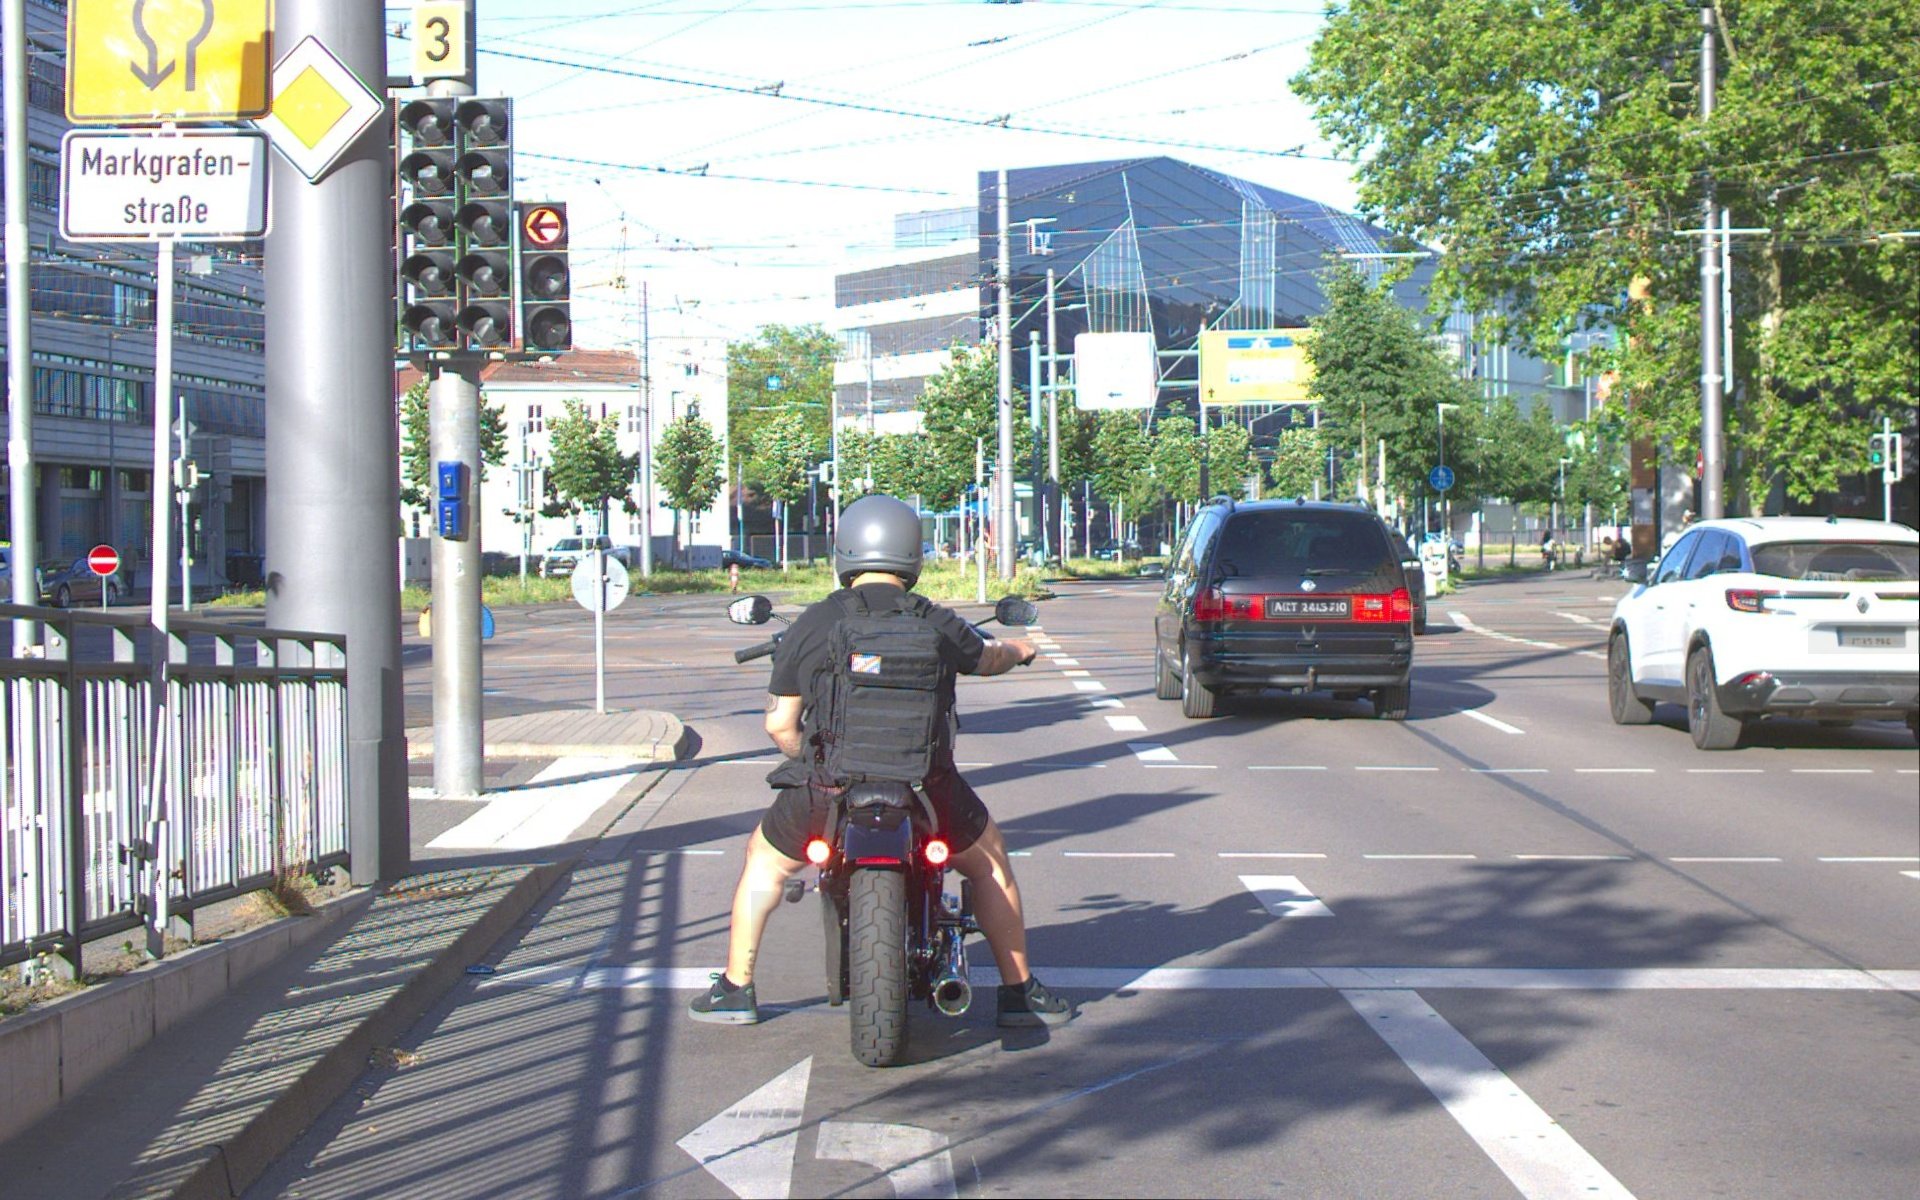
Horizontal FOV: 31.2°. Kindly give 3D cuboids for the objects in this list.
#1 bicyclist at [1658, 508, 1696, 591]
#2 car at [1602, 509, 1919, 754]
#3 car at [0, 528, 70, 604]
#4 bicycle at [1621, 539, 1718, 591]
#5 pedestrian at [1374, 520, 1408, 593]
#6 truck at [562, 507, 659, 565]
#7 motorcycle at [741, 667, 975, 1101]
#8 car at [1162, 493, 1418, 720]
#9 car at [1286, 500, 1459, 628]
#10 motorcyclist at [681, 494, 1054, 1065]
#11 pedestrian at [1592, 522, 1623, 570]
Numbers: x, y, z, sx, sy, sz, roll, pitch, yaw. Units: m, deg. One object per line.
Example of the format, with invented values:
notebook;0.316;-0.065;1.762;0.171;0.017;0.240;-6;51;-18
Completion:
bicyclist;14.562;-1.025;69.843;0.688;1.667;0.540;0;0;19
car;5.875;0.193;24.674;1.731;1.593;4.041;1;0;0
car;-20.342;-0.687;71.350;1.826;1.563;4.692;-1;1;10
bicycle;14.428;-0.710;69.901;1.872;1.040;0.536;0;0;19
pedestrian;9.194;-0.923;73.311;0.587;1.551;0.489;1;0;-8
truck;-12.131;-2.203;119.696;1.994;1.873;5.154;-3;0;10
motorcycle;-0.279;0.767;10.125;0.600;1.032;2.234;1;1;-1
car;2.587;0.033;27.742;1.803;1.672;4.041;1;0;2
car;5.682;-0.497;47.775;1.803;1.672;4.041;1;0;-1
motorcyclist;-0.262;0.493;10.045;1.030;1.588;0.873;0;1;-1
pedestrian;17.995;-1.499;95.539;0.819;1.309;0.638;1;0;9
